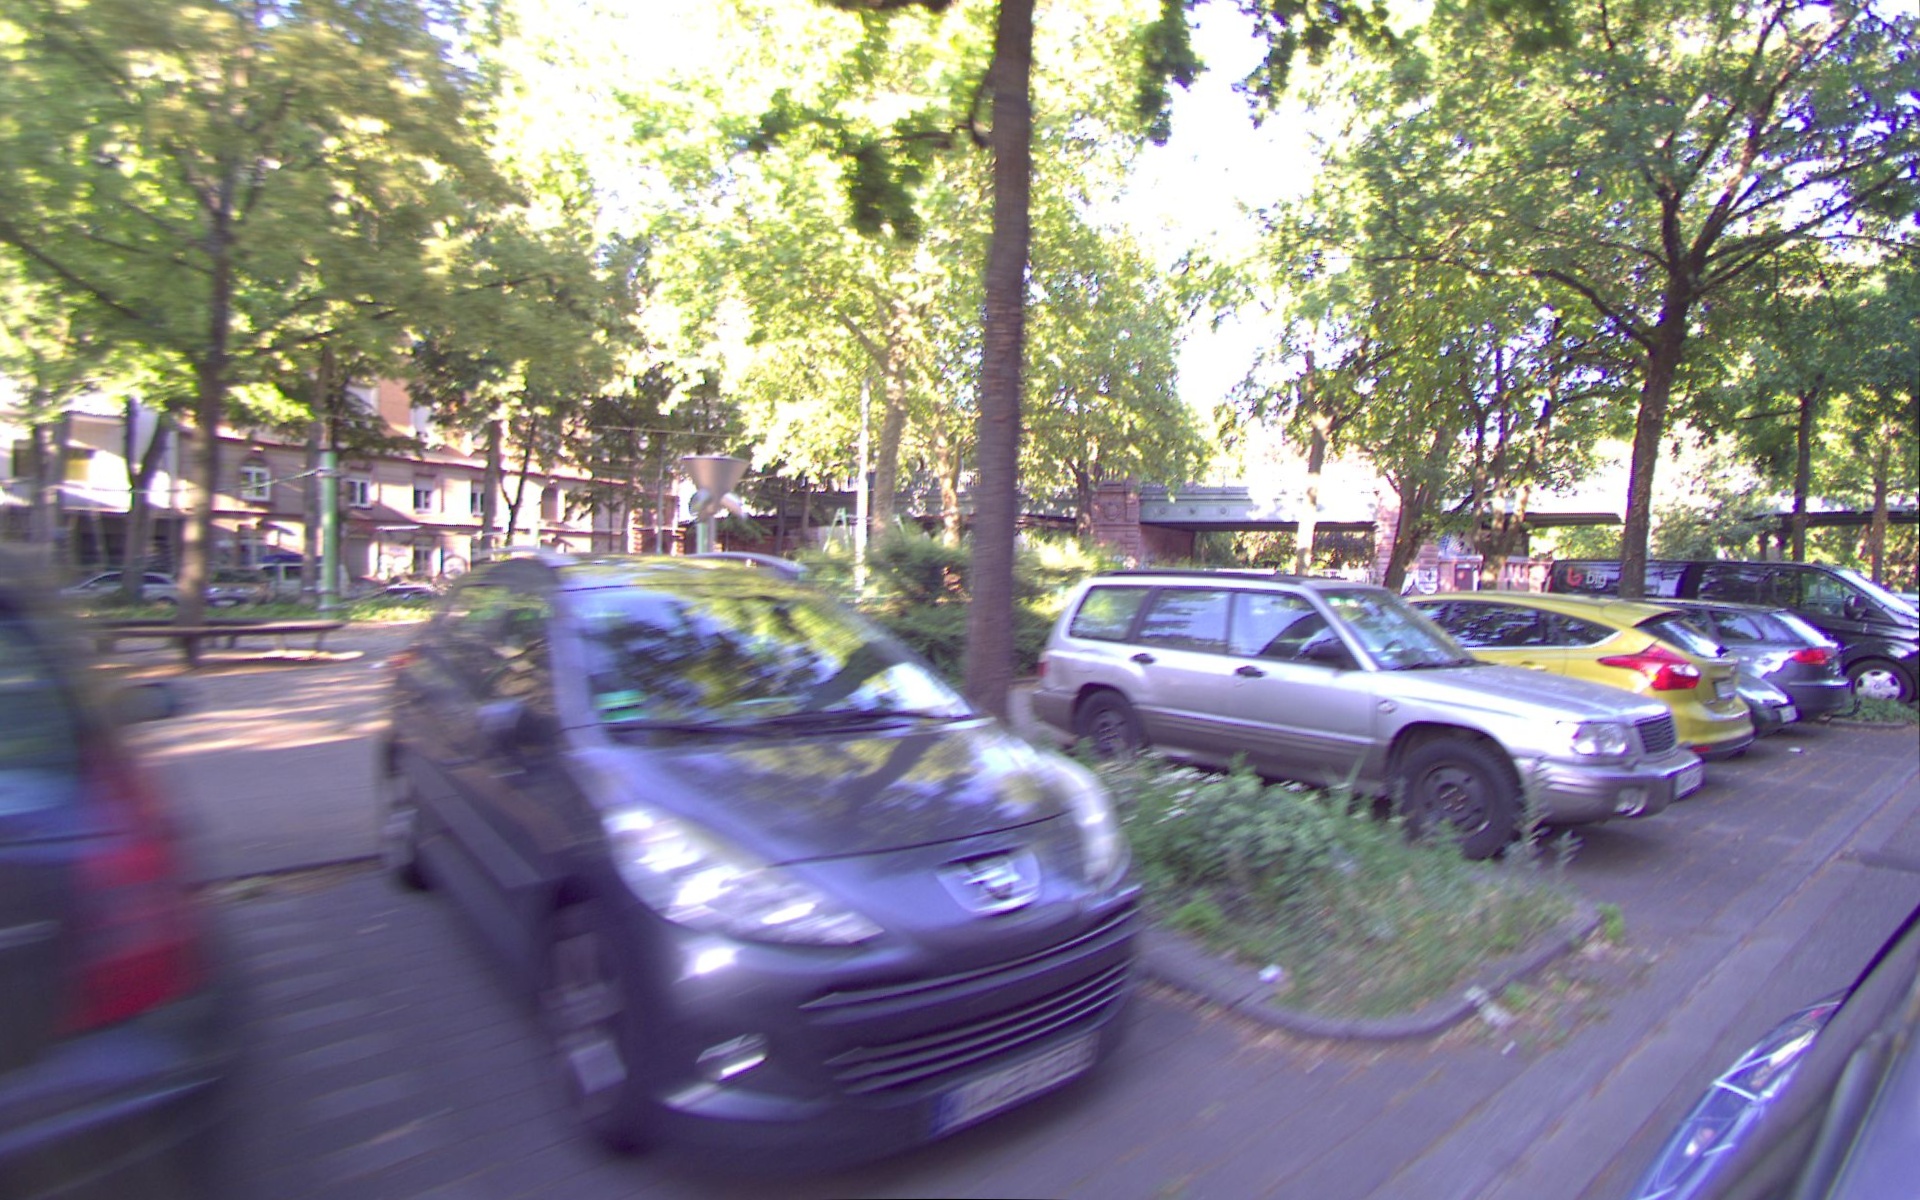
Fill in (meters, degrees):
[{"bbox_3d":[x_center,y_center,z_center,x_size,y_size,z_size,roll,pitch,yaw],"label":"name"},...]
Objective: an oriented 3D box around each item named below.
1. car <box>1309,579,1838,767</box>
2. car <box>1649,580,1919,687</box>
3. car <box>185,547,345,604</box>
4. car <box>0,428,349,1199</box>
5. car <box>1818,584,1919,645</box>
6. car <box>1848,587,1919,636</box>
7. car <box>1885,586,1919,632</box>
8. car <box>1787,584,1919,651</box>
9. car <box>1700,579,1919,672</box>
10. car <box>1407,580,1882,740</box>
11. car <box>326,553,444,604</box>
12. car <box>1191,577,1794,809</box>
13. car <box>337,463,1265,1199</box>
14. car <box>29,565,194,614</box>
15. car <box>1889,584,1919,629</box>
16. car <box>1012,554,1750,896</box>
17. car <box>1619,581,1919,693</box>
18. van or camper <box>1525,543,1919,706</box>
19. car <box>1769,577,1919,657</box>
[{"bbox_3d":[6.160,0.554,10.672,1.804,1.458,4.412,-1,3,-38],"label":"car"},{"bbox_3d":[15.067,0.510,17.941,1.634,1.596,4.412,-2,3,-38],"label":"car"},{"bbox_3d":[-26.687,-0.953,39.032,1.982,2.038,4.693,-1,1,28],"label":"car"},{"bbox_3d":[-3.201,0.503,2.614,1.808,1.610,4.402,-1,3,-45],"label":"car"},{"bbox_3d":[25.133,0.390,26.463,1.633,1.464,3.796,-2,3,-35],"label":"car"},{"bbox_3d":[30.197,0.377,31.374,1.635,1.418,3.790,-2,3,-41],"label":"car"},{"bbox_3d":[32.577,0.338,32.668,1.795,1.418,3.791,-2,3,-39],"label":"car"},{"bbox_3d":[23.012,0.417,24.946,1.634,1.491,3.793,-2,3,-38],"label":"car"},{"bbox_3d":[17.628,0.450,20.112,1.633,1.596,4.415,-2,3,-35],"label":"car"},{"bbox_3d":[7.980,0.545,12.170,1.806,1.458,4.407,-1,3,-41],"label":"car"},{"bbox_3d":[-24.670,-0.949,43.552,1.982,2.038,3.961,-1,1,29],"label":"car"},{"bbox_3d":[4.400,0.569,9.044,1.804,1.458,4.412,-1,3,-38],"label":"car"},{"bbox_3d":[-1.177,0.454,4.176,1.805,1.610,4.410,-1,3,-39],"label":"car"},{"bbox_3d":[-29.406,-0.389,35.192,1.982,1.571,3.961,-1,2,29],"label":"car"},{"bbox_3d":[34.122,0.269,34.283,1.609,1.490,3.786,-2,4,-44],"label":"car"},{"bbox_3d":[2.533,0.500,7.053,1.806,1.610,4.408,-1,3,-41],"label":"car"},{"bbox_3d":[13.576,0.515,16.535,1.807,1.519,4.405,-2,4,-43],"label":"car"},{"bbox_3d":[11.685,0.238,14.977,1.992,2.052,5.429,1,2,-38],"label":"van or camper"},{"bbox_3d":[21.118,0.352,23.174,1.635,1.666,3.791,-2,3,-39],"label":"car"}]
